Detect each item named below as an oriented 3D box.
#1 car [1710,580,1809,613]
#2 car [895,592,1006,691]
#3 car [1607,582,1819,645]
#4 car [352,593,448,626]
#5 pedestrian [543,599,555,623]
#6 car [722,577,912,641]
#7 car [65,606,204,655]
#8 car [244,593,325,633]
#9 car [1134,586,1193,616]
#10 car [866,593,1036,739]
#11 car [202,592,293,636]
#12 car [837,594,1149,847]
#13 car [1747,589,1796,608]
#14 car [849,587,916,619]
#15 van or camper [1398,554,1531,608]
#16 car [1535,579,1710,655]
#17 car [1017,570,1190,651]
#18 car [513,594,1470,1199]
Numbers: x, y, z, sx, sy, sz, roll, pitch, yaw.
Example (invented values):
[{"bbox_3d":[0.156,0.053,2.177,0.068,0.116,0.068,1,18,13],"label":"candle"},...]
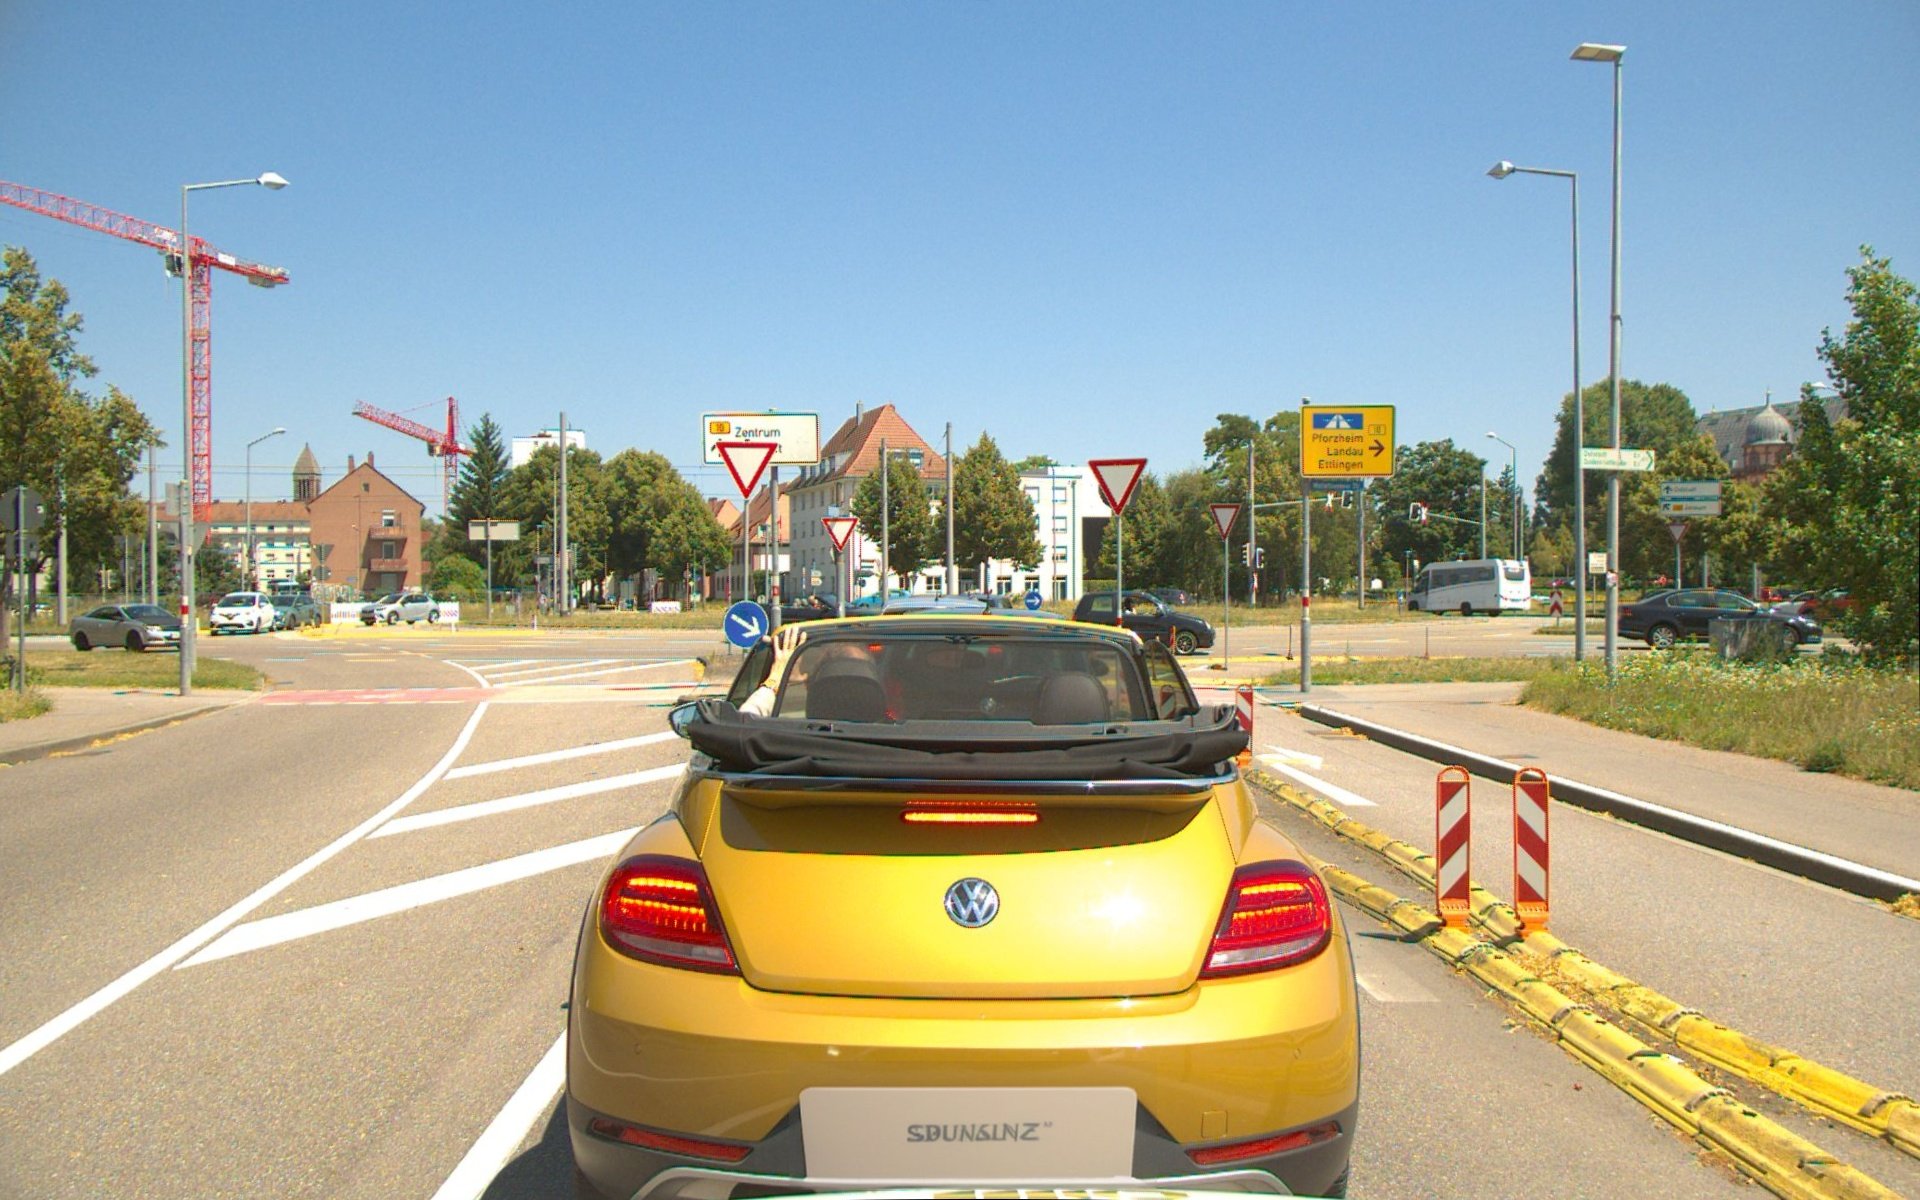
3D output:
[{"bbox_3d":[32.886,-0.142,68.131,1.623,1.323,3.780,0,0,-15],"label":"car"},{"bbox_3d":[-0.173,0.637,27.455,1.701,1.503,3.999,0,0,-1],"label":"car"},{"bbox_3d":[18.283,0.310,40.362,4.422,1.472,1.824,0,0,13],"label":"car"},{"bbox_3d":[-26.346,0.439,77.910,1.676,1.526,4.210,0,0,32],"label":"car"},{"bbox_3d":[-27.584,0.716,111.118,0.488,1.590,0.590,-1,0,33],"label":"pedestrian"},{"bbox_3d":[-3.933,0.238,45.640,4.835,1.685,2.000,0,0,20],"label":"car"},{"bbox_3d":[-24.109,0.859,48.288,4.189,1.339,1.817,0,0,34],"label":"car"},{"bbox_3d":[-27.700,0.506,67.906,1.720,1.576,3.999,0,0,-1],"label":"car"},{"bbox_3d":[11.442,0.060,93.117,3.152,1.634,1.650,0,0,-1],"label":"car"},{"bbox_3d":[-0.117,0.662,18.654,1.701,1.467,3.999,0,0,-1],"label":"car"},{"bbox_3d":[-26.934,0.515,62.645,1.720,1.576,3.999,0,0,-1],"label":"car"},{"bbox_3d":[0.168,0.703,11.645,1.810,1.467,3.999,0,0,-1],"label":"car"},{"bbox_3d":[76.436,-0.147,155.776,3.926,1.744,1.989,0,0,-19],"label":"car"},{"bbox_3d":[-4.735,0.190,100.713,3.913,1.870,1.996,0,0,-9],"label":"car"},{"bbox_3d":[26.938,-0.972,88.694,2.474,2.741,7.452,0,0,-25],"label":"van or camper"},{"bbox_3d":[16.653,0.407,41.765,3.902,1.847,2.001,0,0,16],"label":"car"},{"bbox_3d":[3.435,0.233,39.140,3.902,1.847,2.002,0,0,10],"label":"car"},{"bbox_3d":[0.030,0.717,4.862,1.717,1.447,3.776,0,0,-1],"label":"car"}]
